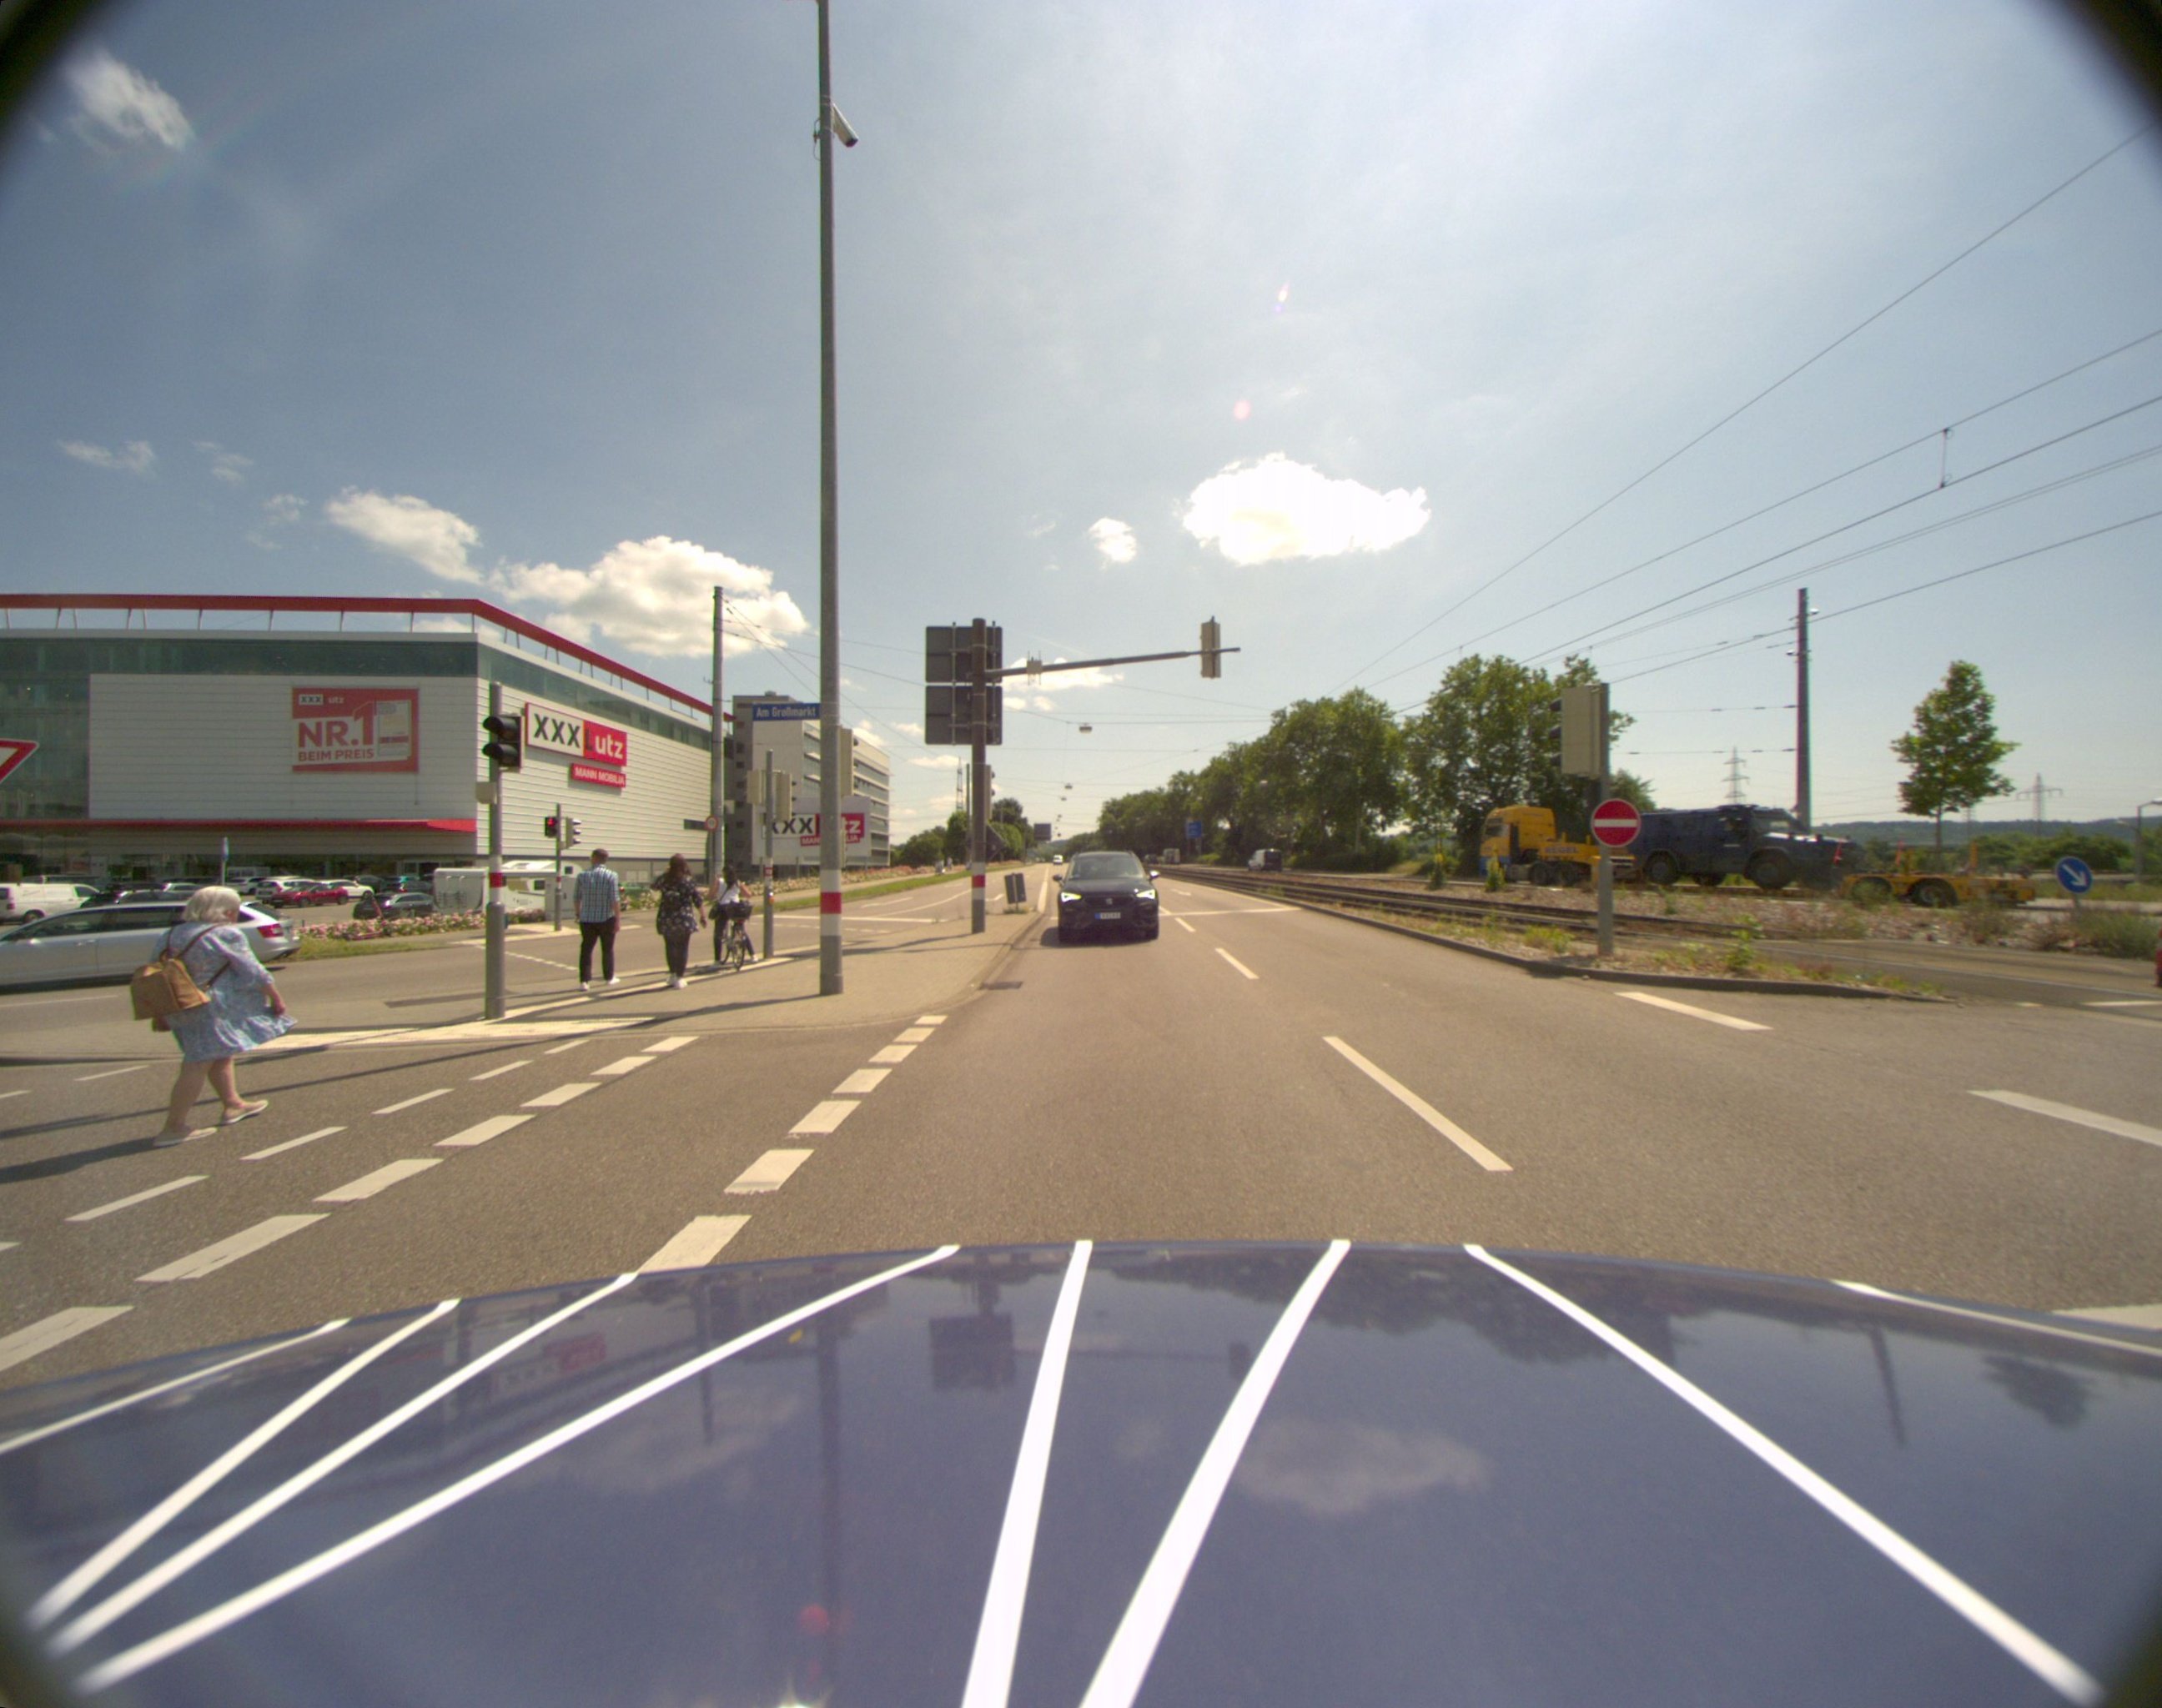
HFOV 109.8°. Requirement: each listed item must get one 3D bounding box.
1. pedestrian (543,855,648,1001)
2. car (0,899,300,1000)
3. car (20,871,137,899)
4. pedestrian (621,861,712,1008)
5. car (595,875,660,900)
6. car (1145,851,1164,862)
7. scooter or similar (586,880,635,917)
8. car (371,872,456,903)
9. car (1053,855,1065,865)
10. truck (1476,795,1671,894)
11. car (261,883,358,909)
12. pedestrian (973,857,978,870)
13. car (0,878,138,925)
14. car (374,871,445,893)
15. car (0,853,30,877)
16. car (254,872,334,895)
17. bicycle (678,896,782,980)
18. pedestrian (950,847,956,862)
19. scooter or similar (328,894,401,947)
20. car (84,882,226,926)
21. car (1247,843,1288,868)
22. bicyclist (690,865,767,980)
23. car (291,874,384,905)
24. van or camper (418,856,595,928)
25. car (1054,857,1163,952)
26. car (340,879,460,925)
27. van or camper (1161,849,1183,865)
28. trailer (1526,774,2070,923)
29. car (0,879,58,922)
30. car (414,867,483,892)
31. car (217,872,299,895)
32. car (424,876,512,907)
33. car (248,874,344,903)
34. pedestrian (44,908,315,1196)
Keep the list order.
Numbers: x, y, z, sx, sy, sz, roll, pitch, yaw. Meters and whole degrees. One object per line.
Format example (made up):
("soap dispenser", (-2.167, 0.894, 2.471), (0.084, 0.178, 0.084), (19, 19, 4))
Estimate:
("pedestrian", (-6.428, 0.949, 10.110), (0.805, 1.854, 0.797), (-2, 1, 2))
("car", (-17.113, 1.627, 13.394), (4.469, 1.390, 1.799), (-1, 0, -40))
("car", (-68.782, 2.089, 52.281), (1.999, 1.724, 4.519), (-2, 0, -1))
("pedestrian", (-5.251, 0.973, 9.675), (0.806, 1.749, 0.796), (-2, 1, -17))
("car", (-32.513, 2.384, 54.602), (1.999, 1.554, 4.519), (-1, 0, -2))
("car", (11.421, 0.309, 118.097), (2.000, 1.627, 4.262), (1, 0, -7))
("scooter or similar", (-16.217, 1.506, 26.216), (0.479, 1.120, 1.280), (-1, 4, 26))
("car", (-47.333, 2.334, 54.026), (1.999, 1.883, 4.519), (-2, 0, -1))
("car", (-3.926, 1.043, 135.299), (1.819, 1.829, 4.001), (-1, 0, 2))
("truck", (22.045, -0.404, 34.668), (3.137, 4.015, 7.467), (-1, 0, -12))
("car", (-49.398, 2.638, 48.799), (1.859, 1.404, 4.256), (-1, 0, 0))
("pedestrian", (-14.332, 1.295, 103.342), (0.599, 1.645, 0.634), (-1, 0, -2))
("car", (-51.728, 2.370, 38.356), (1.998, 2.002, 4.964), (-2, 1, 0))
("car", (-56.682, 2.327, 64.266), (1.999, 1.683, 4.519), (-2, 0, 0))
("car", (-92.008, 0.978, 63.671), (1.850, 2.002, 4.285), (-2, 1, 0))
("car", (-65.958, 2.461, 63.799), (1.999, 1.683, 4.518), (-2, 0, -3))
("bicycle", (-5.519, 1.269, 11.895), (1.874, 1.155, 0.833), (-2, -1, 44))
("pedestrian", (-14.912, 0.073, 88.528), (0.518, 1.783, 0.634), (-1, 1, -2))
("scooter or similar", (-18.932, 1.733, 20.102), (0.479, 1.283, 1.280), (-2, 1, 16))
("car", (-46.587, 2.479, 38.383), (1.590, 1.901, 4.488), (-1, 0, 1))
("car", (15.213, 0.125, 62.342), (1.999, 1.826, 4.433), (1, -3, -4))
("bicyclist", (-5.518, 1.034, 11.901), (0.797, 1.691, 0.818), (-1, 0, 43))
("car", (-52.008, 2.439, 53.312), (1.998, 1.883, 4.519), (-2, 0, 0))
("van or camper", (-27.537, 1.665, 37.019), (2.715, 2.929, 7.612), (-2, 1, 0))
("car", (0.545, 0.861, 14.863), (1.819, 1.583, 4.001), (-1, 0, 2))
("car", (-34.409, 2.371, 38.588), (1.998, 2.002, 4.453), (-1, 0, 1))
("van or camper", (14.371, 0.460, 120.413), (2.000, 2.571, 5.840), (0, 0, -7))
("trailer", (23.352, -0.126, 27.529), (3.125, 3.848, 15.468), (-1, 0, -10))
("car", (-54.394, 2.374, 37.623), (1.999, 2.002, 3.999), (-2, 1, 0))
("car", (-53.763, 2.108, 64.684), (1.999, 1.911, 4.519), (-2, 0, 0))
("car", (-68.755, 2.406, 63.597), (1.999, 1.683, 4.518), (-2, 0, -3))
("car", (-39.571, 2.383, 49.193), (1.999, 1.707, 4.502), (-2, 1, 0))
("car", (-54.857, 2.360, 53.251), (1.999, 1.724, 4.519), (-2, 0, -1))
("pedestrian", (-5.283, 1.100, 4.521), (0.591, 1.467, 0.805), (-2, 1, -7))
